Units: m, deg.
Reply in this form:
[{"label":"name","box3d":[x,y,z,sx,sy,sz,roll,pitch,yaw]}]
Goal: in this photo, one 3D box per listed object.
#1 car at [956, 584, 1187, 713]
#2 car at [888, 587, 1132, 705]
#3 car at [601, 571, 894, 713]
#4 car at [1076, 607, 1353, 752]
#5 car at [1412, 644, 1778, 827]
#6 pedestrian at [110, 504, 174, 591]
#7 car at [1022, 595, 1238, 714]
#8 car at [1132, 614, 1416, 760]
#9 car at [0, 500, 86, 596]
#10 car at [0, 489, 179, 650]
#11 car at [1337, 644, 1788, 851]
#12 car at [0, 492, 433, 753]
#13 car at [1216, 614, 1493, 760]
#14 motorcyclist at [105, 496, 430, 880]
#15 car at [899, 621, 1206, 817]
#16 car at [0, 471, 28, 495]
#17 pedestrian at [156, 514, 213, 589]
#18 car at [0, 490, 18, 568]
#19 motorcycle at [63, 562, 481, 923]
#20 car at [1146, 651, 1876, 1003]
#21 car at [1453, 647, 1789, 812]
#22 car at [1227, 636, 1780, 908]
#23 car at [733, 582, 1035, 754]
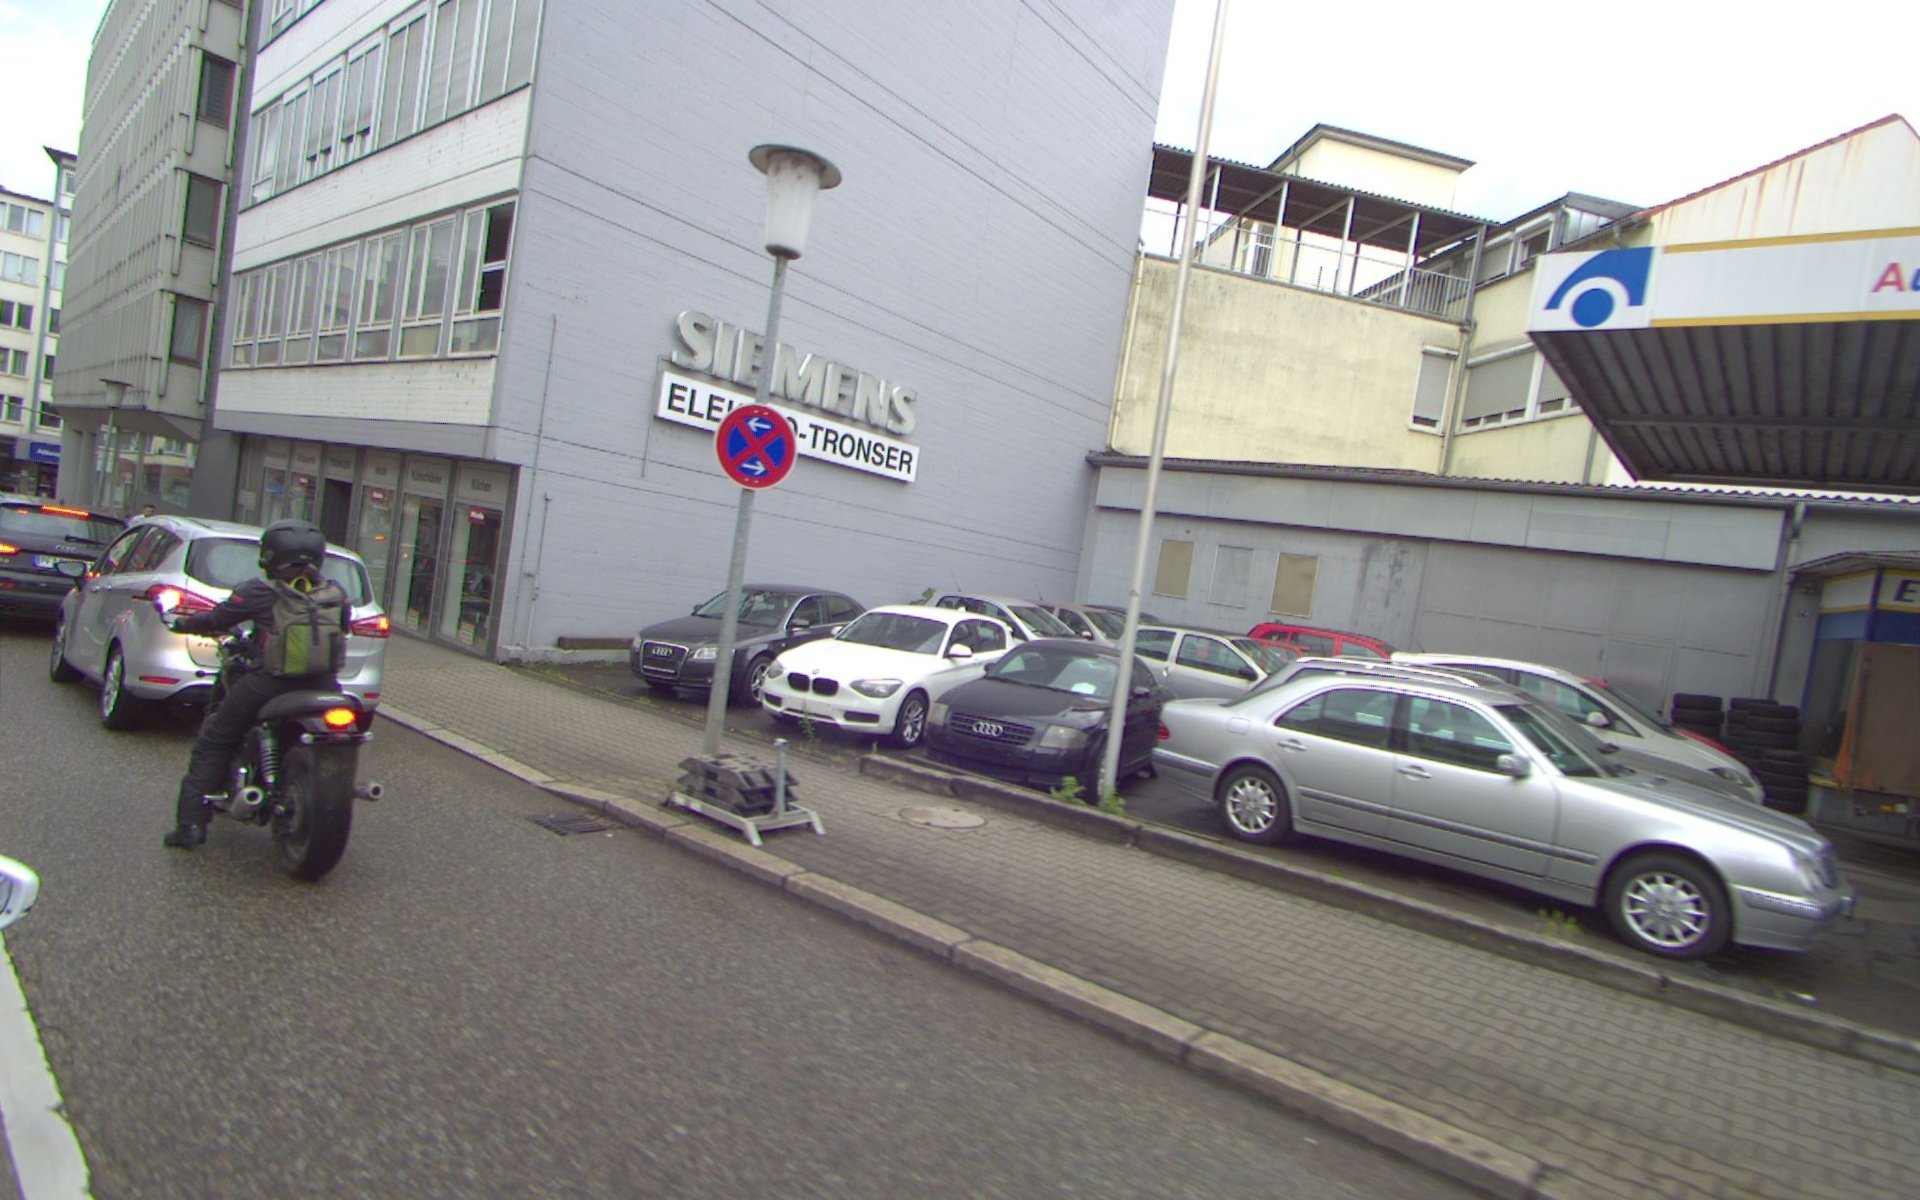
[{"label":"car","box3d":[2.045,0.884,19.145,3.895,1.922,1.785,7,0,43]},{"label":"car","box3d":[0.781,0.736,17.438,3.895,1.542,1.783,6,2,43]},{"label":"car","box3d":[-2.676,0.474,13.639,1.766,1.470,3.991,7,3,25]},{"label":"car","box3d":[3.726,1.093,15.026,3.471,1.621,1.783,7,2,43]},{"label":"car","box3d":[8.654,1.746,13.906,3.895,1.751,1.785,7,0,43]},{"label":"pedestrian","box3d":[-17.165,-1.105,21.116,1.104,1.728,0.782,6,3,39]},{"label":"car","box3d":[3.437,1.090,20.800,3.895,1.934,1.785,7,0,43]},{"label":"car","box3d":[5.024,1.353,16.418,3.895,1.751,1.785,7,0,43]},{"label":"car","box3d":[-17.904,-1.098,18.778,3.943,1.493,1.689,6,-3,40]},{"label":"car","box3d":[-11.476,-0.474,12.509,4.141,1.577,1.823,6,-3,40]},{"label":"car","box3d":[7.205,1.641,12.335,4.359,1.620,1.785,6,0,43]},{"label":"car","box3d":[-6.435,0.113,8.473,4.189,1.557,1.828,7,-3,38]},{"label":"car","box3d":[6.899,1.468,17.864,4.049,1.934,1.785,7,0,43]},{"label":"motorcyclist","box3d":[-3.339,0.391,4.867,0.948,1.607,0.846,7,-2,36]},{"label":"car","box3d":[1.159,1.106,10.330,1.642,1.418,3.996,7,-1,27]},{"label":"car","box3d":[-77.759,-9.582,82.359,1.789,1.691,3.956,6,0,-39]},{"label":"pedestrian","box3d":[-17.317,-1.087,22.463,0.878,1.572,0.764,6,3,39]},{"label":"car","box3d":[-23.554,-1.881,23.322,4.442,1.713,1.898,6,-3,41]},{"label":"motorcycle","box3d":[-3.435,0.574,4.919,2.337,1.239,0.846,7,-3,37]},{"label":"car","box3d":[3.911,1.403,7.785,4.555,1.433,1.783,6,1,44]},{"label":"car","box3d":[9.922,1.859,15.271,3.895,1.751,1.785,7,0,43]},{"label":"car","box3d":[5.176,1.431,10.038,4.429,1.566,1.782,9,5,43]},{"label":"car","box3d":[-0.705,0.790,12.135,1.732,1.548,3.997,7,-1,26]}]
